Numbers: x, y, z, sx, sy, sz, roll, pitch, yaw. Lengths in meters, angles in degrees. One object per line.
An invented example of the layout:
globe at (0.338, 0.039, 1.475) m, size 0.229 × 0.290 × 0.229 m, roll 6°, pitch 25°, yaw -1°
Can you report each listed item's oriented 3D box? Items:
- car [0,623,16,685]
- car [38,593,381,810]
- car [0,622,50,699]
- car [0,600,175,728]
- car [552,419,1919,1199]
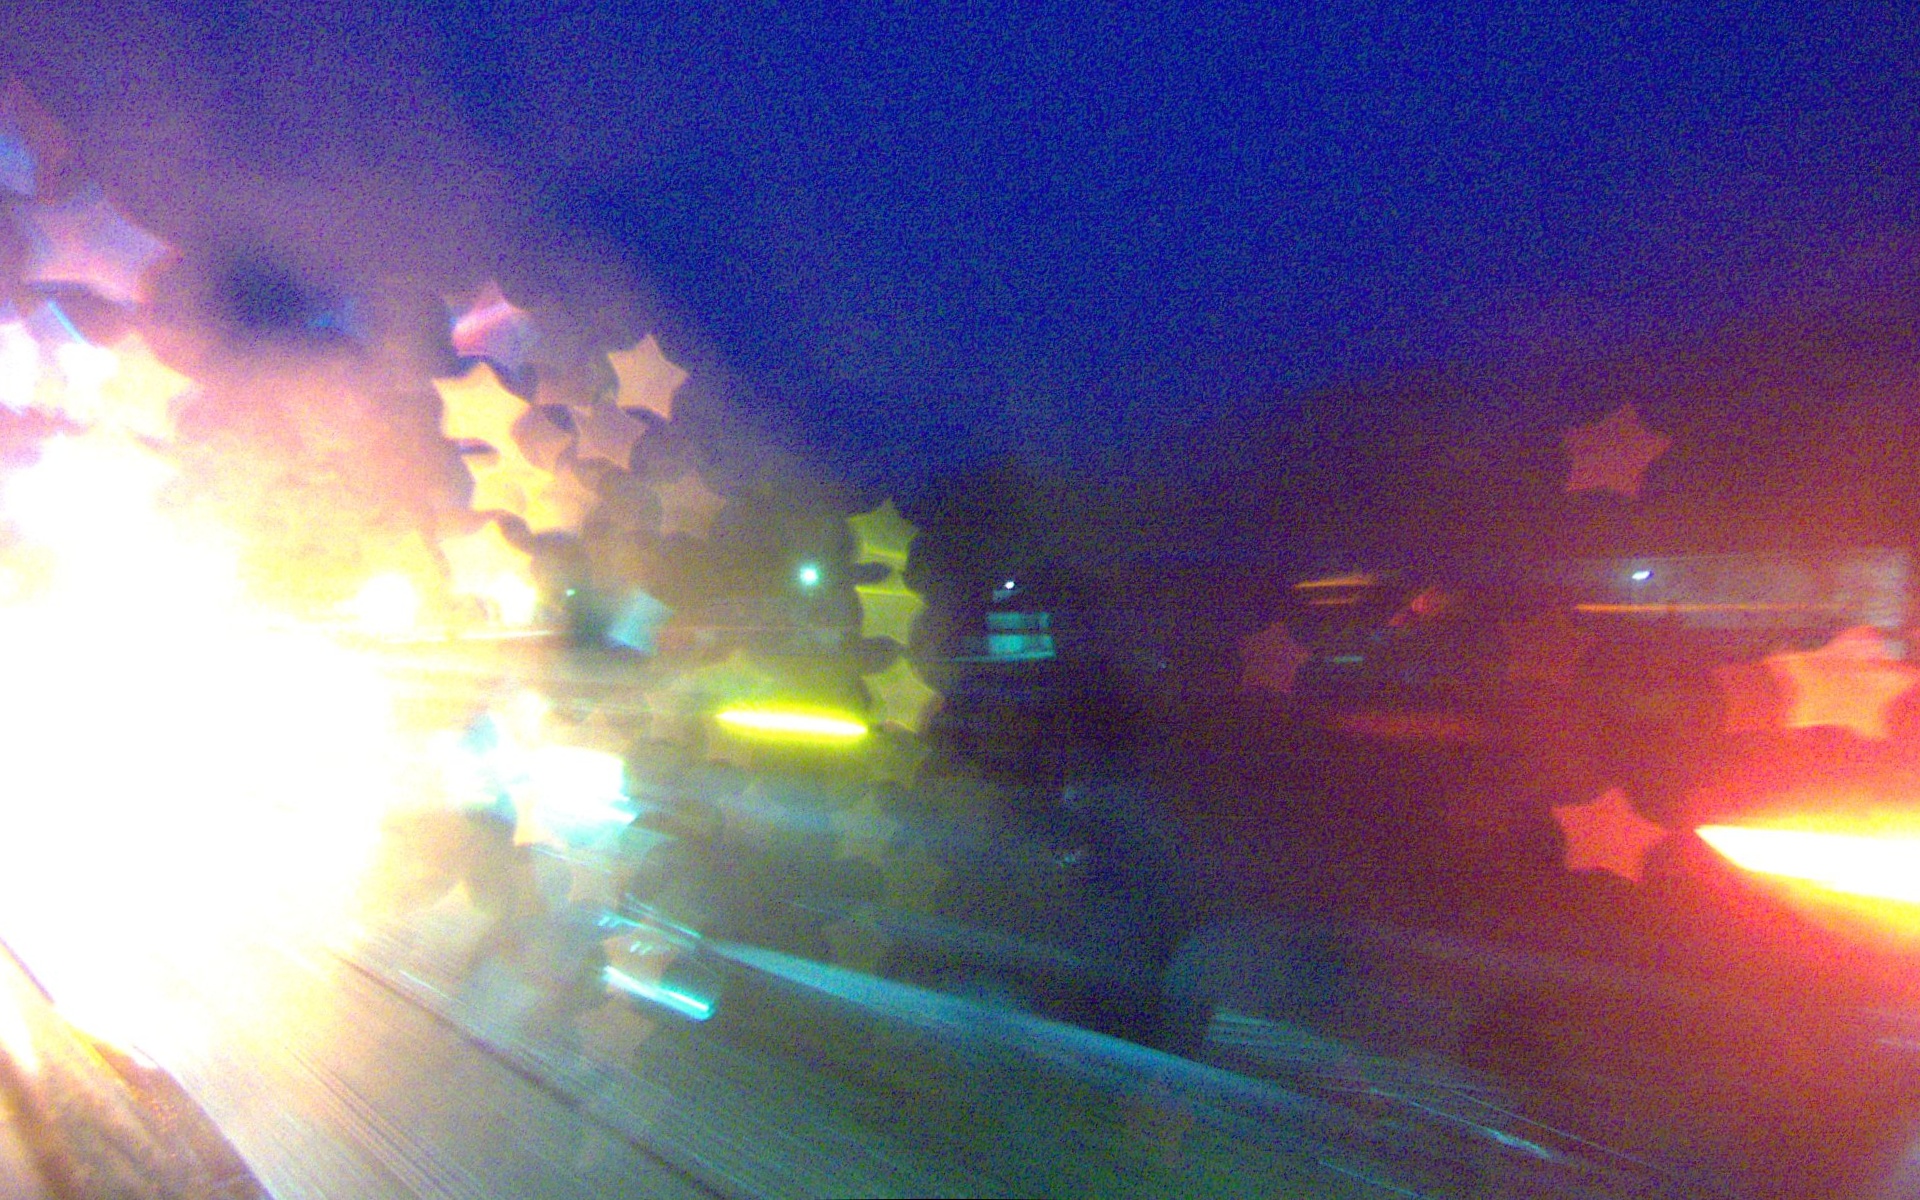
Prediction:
car at (-24.844, 1.346, 25.102) m, size 3.630 × 1.484 × 1.652 m, roll -2°, pitch -1°, yaw 40°
car at (-7.334, 0.799, 9.685) m, size 4.596 × 1.587 × 1.824 m, roll -2°, pitch -1°, yaw 43°
car at (-20.197, 1.236, 20.870) m, size 3.881 × 1.484 × 1.606 m, roll -2°, pitch -1°, yaw 40°
car at (-13.718, 0.902, 15.535) m, size 4.443 × 1.681 × 1.825 m, roll -2°, pitch -1°, yaw 41°
car at (0.745, 0.576, 3.176) m, size 4.409 × 1.642 × 1.788 m, roll -2°, pitch 0°, yaw 38°
